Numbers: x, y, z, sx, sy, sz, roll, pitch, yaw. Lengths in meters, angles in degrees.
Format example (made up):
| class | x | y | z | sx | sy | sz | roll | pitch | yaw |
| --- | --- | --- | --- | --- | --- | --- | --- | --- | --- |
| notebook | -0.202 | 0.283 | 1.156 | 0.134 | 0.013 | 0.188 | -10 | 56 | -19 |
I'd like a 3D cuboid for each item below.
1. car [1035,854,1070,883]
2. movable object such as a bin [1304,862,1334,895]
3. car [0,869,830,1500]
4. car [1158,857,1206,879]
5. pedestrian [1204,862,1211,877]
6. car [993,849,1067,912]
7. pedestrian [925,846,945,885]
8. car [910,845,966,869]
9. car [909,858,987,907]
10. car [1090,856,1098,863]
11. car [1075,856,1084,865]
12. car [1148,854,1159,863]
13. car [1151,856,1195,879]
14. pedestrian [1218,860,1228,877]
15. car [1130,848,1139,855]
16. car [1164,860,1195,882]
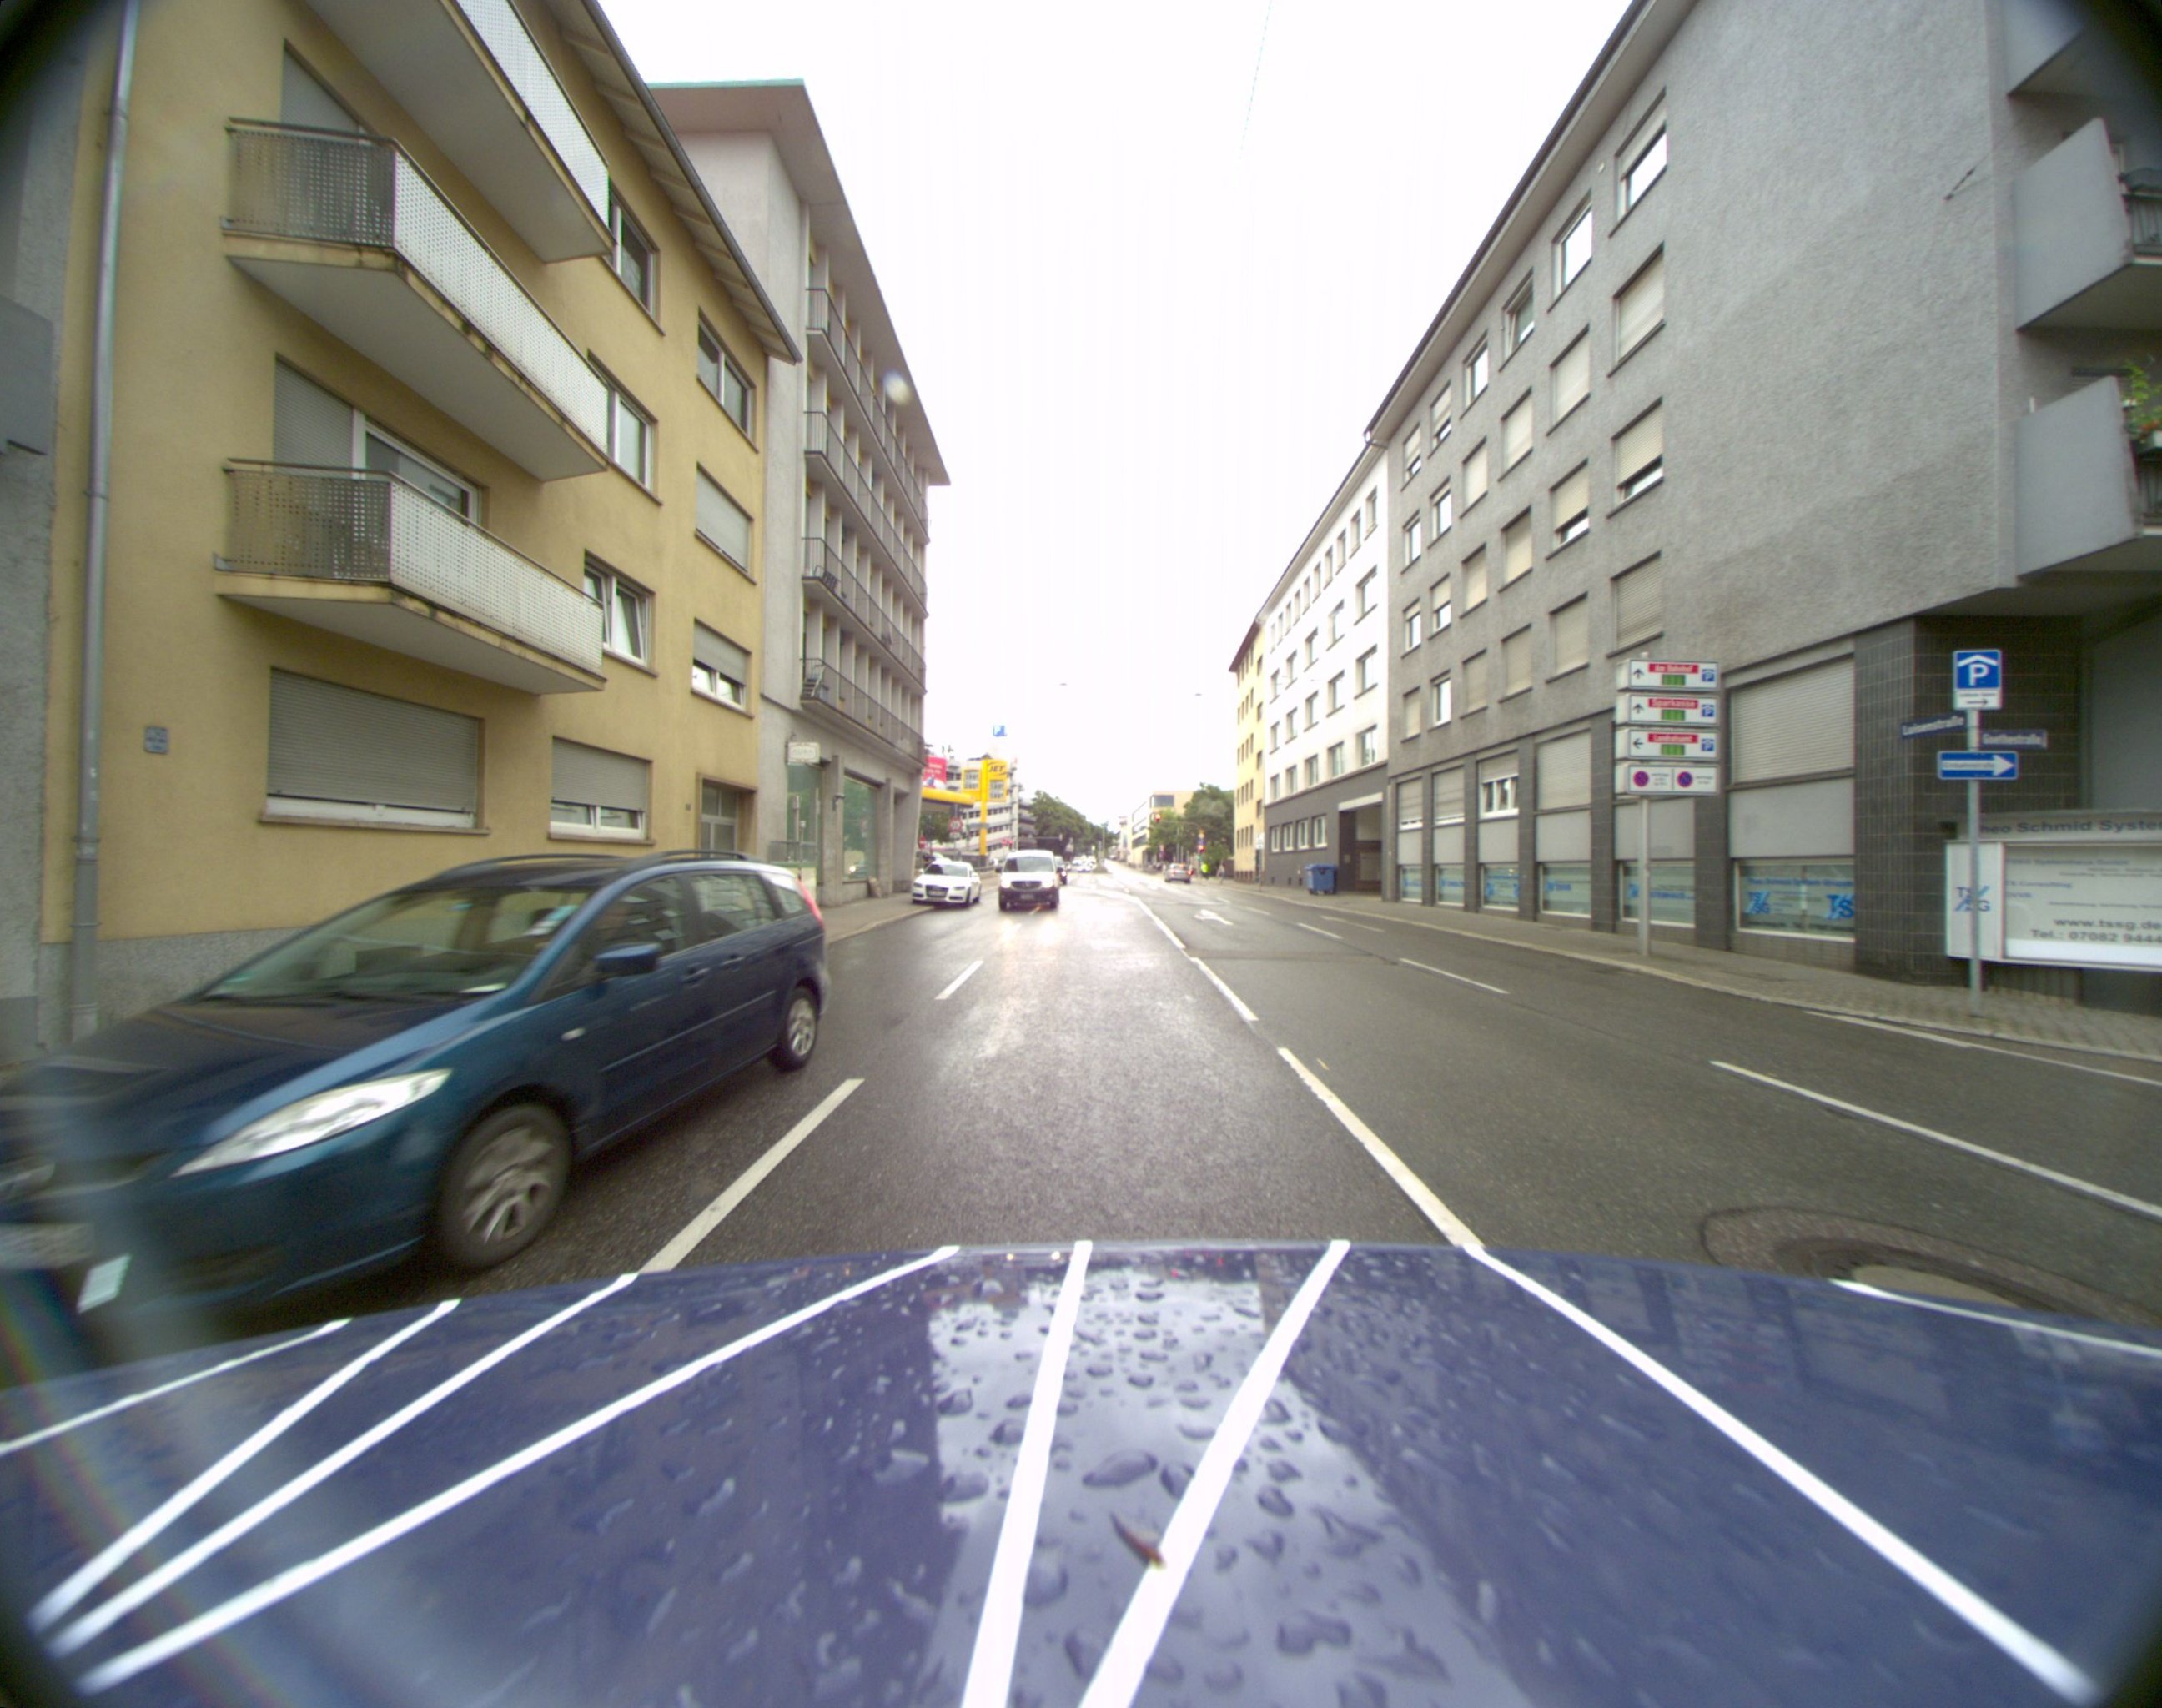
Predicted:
| class | x | y | z | sx | sy | sz | roll | pitch | yaw |
| --- | --- | --- | --- | --- | --- | --- | --- | --- | --- |
| car | -1.577 | 0.806 | 43.588 | 1.771 | 1.571 | 4.000 | -1 | 0 | 1 |
| movable object such as a bin | 10.358 | 1.051 | 33.091 | 0.946 | 1.325 | 1.096 | -3 | 0 | 1 |
| car | -3.101 | 0.955 | 4.175 | 1.812 | 1.597 | 4.212 | -2 | 0 | 3 |
| car | 8.897 | 1.209 | 67.071 | 3.928 | 1.706 | 1.902 | -3 | 0 | 2 |
| pedestrian | 11.256 | 1.374 | 67.664 | 0.442 | 1.362 | 0.535 | 3 | 1 | 2 |
| car | -1.513 | 0.751 | 24.164 | 1.945 | 1.764 | 4.746 | -2 | 0 | 0 |
| pedestrian | -6.513 | 0.503 | 34.020 | 0.679 | 1.745 | 0.888 | 1 | 1 | 2 |
| car | -9.950 | 0.236 | 52.726 | 3.989 | 1.465 | 1.775 | -2 | 0 | 44 |
| car | -4.347 | 0.887 | 25.419 | 1.803 | 1.427 | 4.166 | 1 | 0 | 1 |
| car | 3.365 | 1.439 | 196.772 | 1.998 | 1.736 | 3.999 | -2 | 1 | 1 |
| car | -0.429 | 1.560 | 187.780 | 1.998 | 2.002 | 3.999 | -2 | 1 | 1 |
| car | 15.919 | 1.047 | 166.626 | 1.998 | 1.863 | 3.999 | -2 | 1 | 1 |
| car | 8.363 | 1.203 | 69.462 | 3.794 | 1.823 | 1.692 | -3 | 0 | 2 |
| pedestrian | 10.182 | 1.044 | 54.550 | 0.582 | 1.143 | 0.407 | 3 | 1 | 2 |
| car | 13.382 | -0.696 | 189.200 | 1.998 | 1.683 | 4.000 | -2 | 1 | 2 |
| car | 7.537 | 1.291 | 58.256 | 1.883 | 1.580 | 4.373 | 0 | 0 | 1 |
